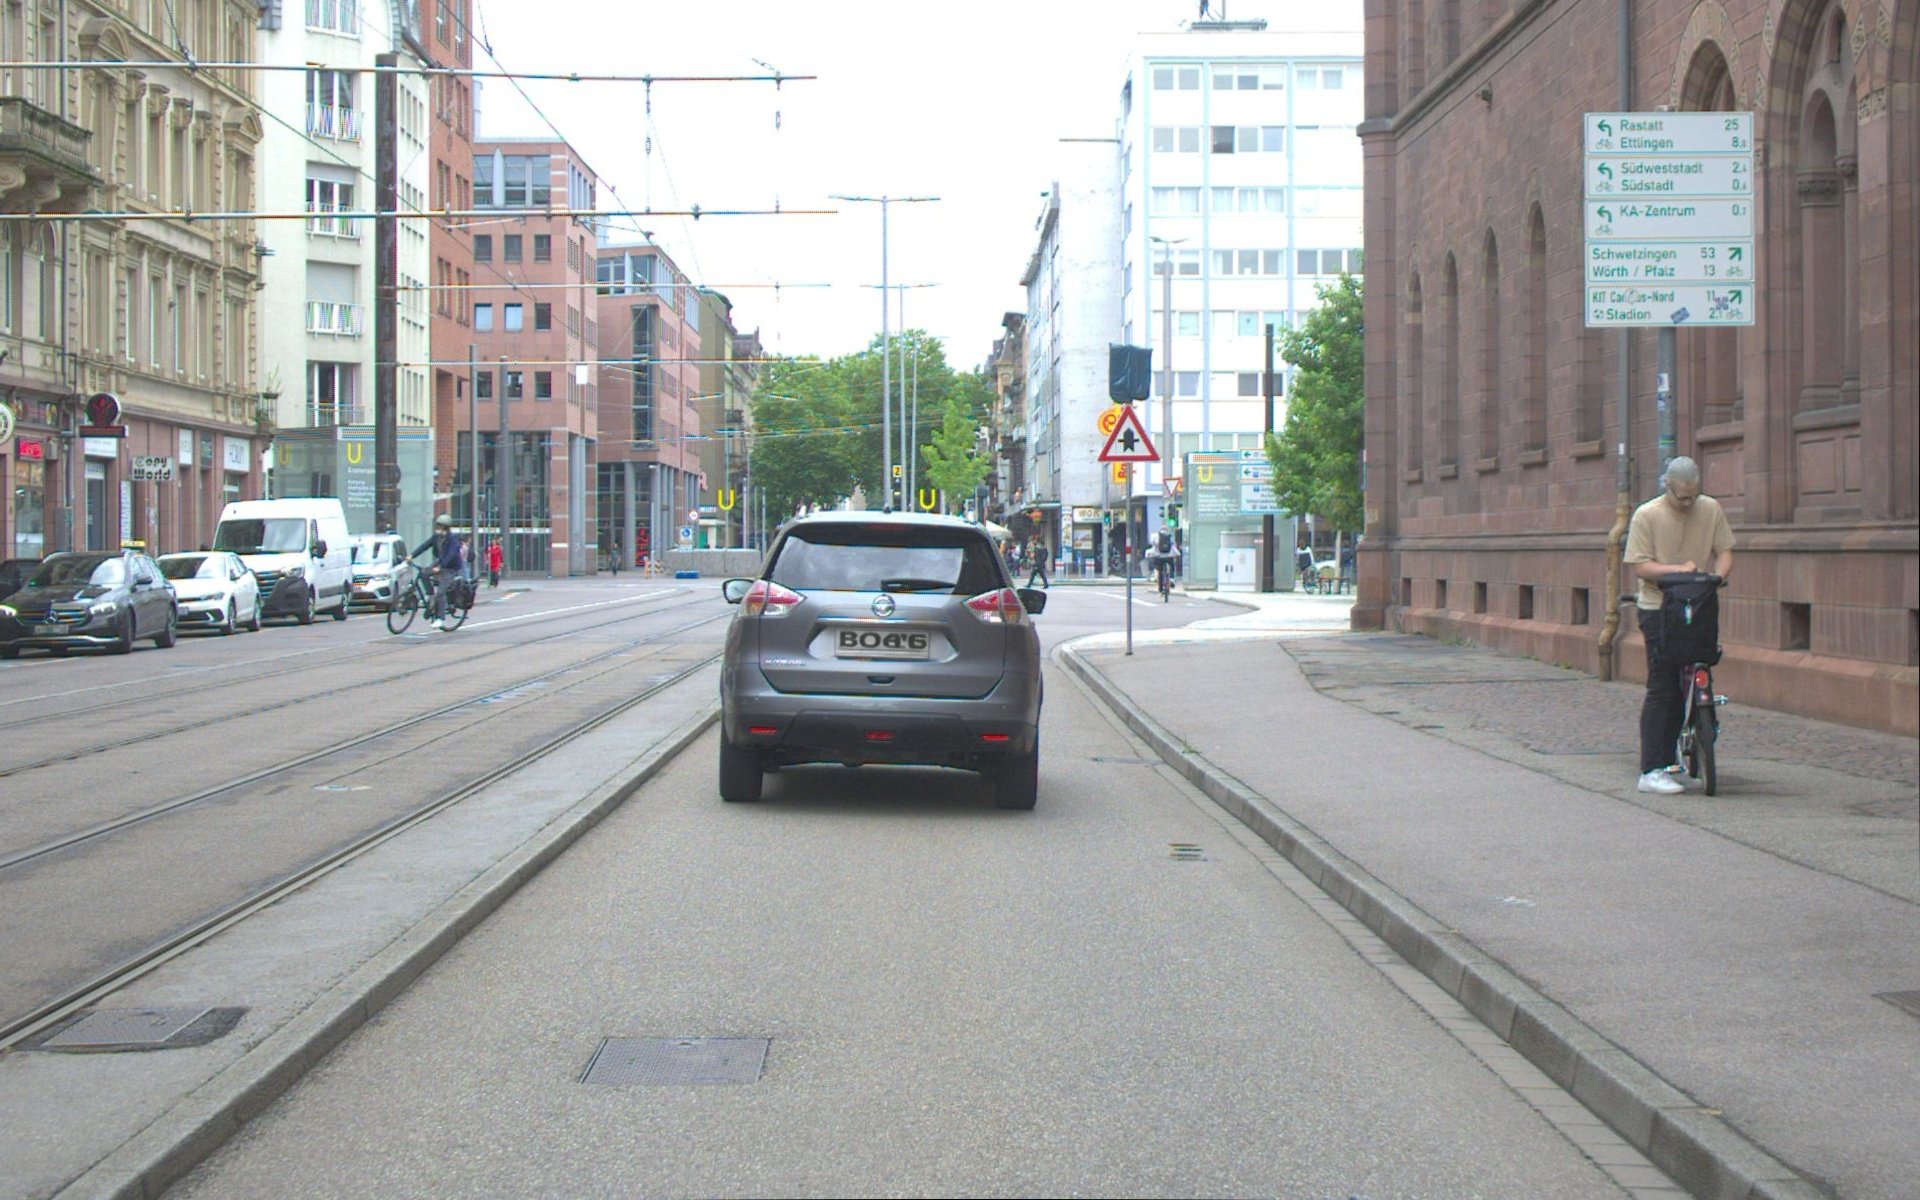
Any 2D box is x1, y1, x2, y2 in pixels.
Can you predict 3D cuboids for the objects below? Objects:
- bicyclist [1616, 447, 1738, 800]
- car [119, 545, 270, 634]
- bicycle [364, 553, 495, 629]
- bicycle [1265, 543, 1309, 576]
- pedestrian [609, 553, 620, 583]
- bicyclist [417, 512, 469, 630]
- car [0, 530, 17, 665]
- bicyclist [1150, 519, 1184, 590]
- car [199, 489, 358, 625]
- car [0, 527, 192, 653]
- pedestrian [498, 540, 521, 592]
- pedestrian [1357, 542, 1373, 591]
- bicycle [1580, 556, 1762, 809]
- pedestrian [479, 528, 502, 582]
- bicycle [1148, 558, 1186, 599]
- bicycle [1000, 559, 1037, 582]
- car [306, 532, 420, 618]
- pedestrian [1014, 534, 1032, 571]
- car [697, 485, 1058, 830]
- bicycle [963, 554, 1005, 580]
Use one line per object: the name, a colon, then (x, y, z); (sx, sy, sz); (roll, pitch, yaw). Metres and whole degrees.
bicyclist: (3.818, 0.119, 18.332); (0.528, 1.852, 0.450); (-1, 0, -1)
car: (-13.248, -0.205, 59.709); (1.770, 1.418, 4.165); (-2, 1, -2)
bicycle: (-8.602, -0.145, 55.801); (2.038, 1.170, 0.587); (-2, 1, -37)
bicycle: (9.693, -1.208, 101.801); (0.659, 0.975, 1.752); (0, 1, 28)
pedestrian: (-17.558, -1.624, 174.828); (0.448, 1.527, 0.522); (1, 0, -18)
bicyclist: (-8.412, -0.474, 55.919); (0.645, 1.877, 1.028); (1, 0, 1)
car: (-12.835, 0.011, 41.416); (1.813, 1.684, 5.032); (-1, 1, -3)
bicyclist: (5.373, -1.180, 89.152); (0.834, 1.806, 0.877); (1, 0, 2)
car: (-13.324, -0.851, 67.568); (2.052, 2.478, 5.666); (-2, 1, -2)
car: (-12.694, -0.172, 50.191); (1.919, 1.683, 5.053); (-2, 1, -2)
pedestrian: (-14.778, -1.122, 112.731); (0.720, 1.681, 0.662); (0, -1, -11)
pedestrian: (12.965, -1.072, 110.145); (0.432, 1.550, 0.499); (1, 0, 0)
bicycle: (3.814, 0.407, 18.586); (0.445, 1.272, 2.227); (-2, 1, -1)
pedestrian: (-14.953, -1.433, 109.551); (0.660, 1.681, 0.723); (0, -1, -13)
bicycle: (5.371, -0.561, 89.269); (0.902, 1.041, 3.277); (0, 0, 2)
bicycle: (2.761, -1.404, 162.280); (1.695, 1.062, 0.437); (1, 0, -13)
car: (-13.568, -0.581, 78.326); (1.902, 1.858, 4.521); (-2, 1, -2)
pedestrian: (2.975, -2.225, 161.771); (0.732, 1.740, 0.663); (1, 0, -8)
car: (-0.397, 0.251, 20.976); (1.863, 1.768, 4.567); (3, 2, 1)
bicycle: (1.140, -1.562, 162.544); (1.866, 1.168, 0.531); (1, 1, -14)
